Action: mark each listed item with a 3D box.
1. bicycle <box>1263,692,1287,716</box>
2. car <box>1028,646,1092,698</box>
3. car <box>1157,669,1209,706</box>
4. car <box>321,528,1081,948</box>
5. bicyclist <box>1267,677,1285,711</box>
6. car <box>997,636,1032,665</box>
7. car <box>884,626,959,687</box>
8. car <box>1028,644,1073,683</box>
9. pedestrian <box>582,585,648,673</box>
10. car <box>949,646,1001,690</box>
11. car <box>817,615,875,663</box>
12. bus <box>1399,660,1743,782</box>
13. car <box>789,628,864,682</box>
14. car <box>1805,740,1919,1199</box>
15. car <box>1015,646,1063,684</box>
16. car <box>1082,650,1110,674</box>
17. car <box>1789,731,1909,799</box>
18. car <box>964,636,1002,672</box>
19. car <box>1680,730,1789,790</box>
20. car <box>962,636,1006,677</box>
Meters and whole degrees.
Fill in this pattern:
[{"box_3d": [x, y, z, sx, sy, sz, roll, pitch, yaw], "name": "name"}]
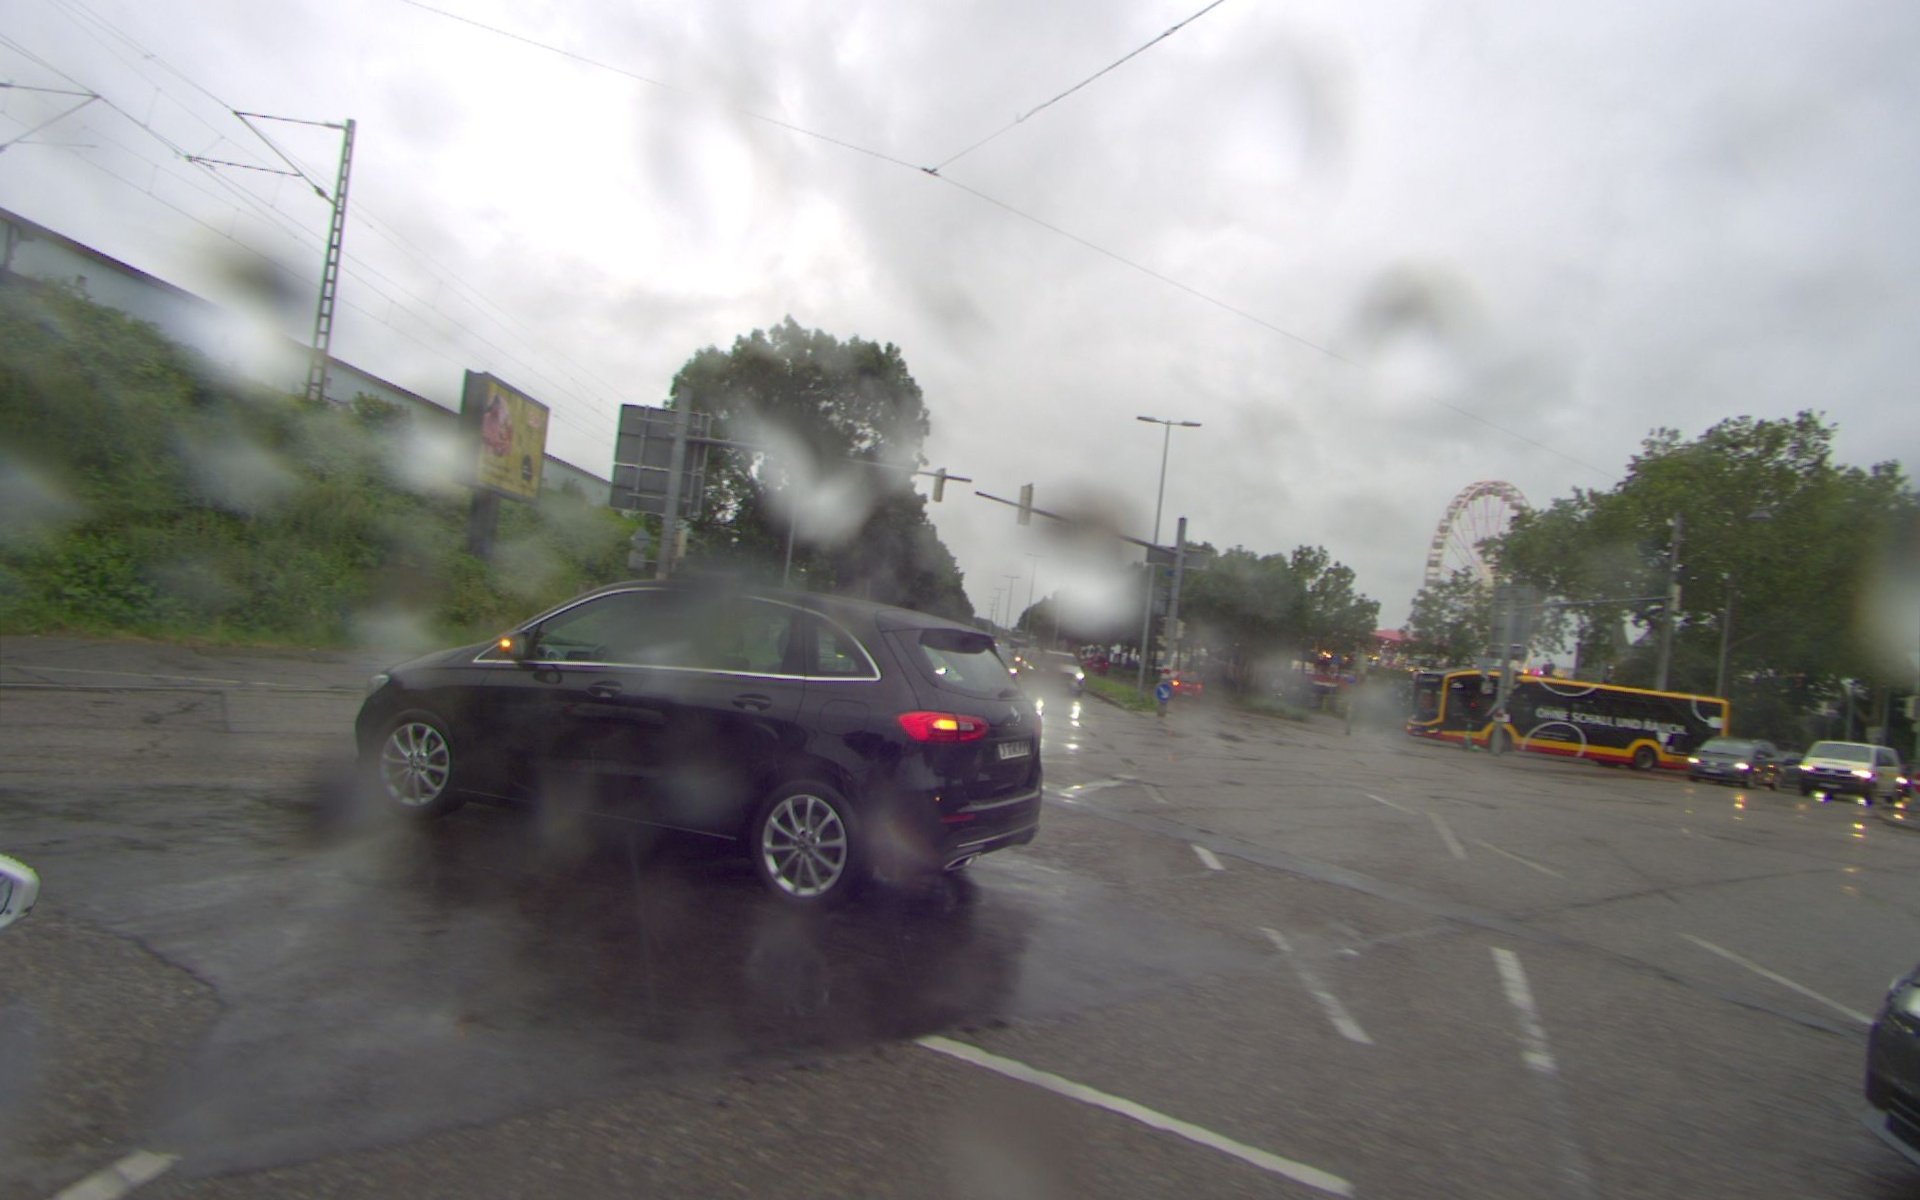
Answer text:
[{"box_3d": [18.948, 6.240, 60.567, 0.806, 1.178, 2.262, 7, -2, 5], "name": "bicycle"}, {"box_3d": [4.067, 2.910, 41.486, 2.136, 1.740, 4.305, 7, -2, 2], "name": "car"}, {"box_3d": [11.535, 4.500, 52.246, 1.653, 1.508, 3.623, 8, -2, 0], "name": "car"}, {"box_3d": [-1.556, 0.603, 6.016, 4.014, 1.541, 1.876, 6, -2, 26], "name": "car"}, {"box_3d": [19.010, 5.648, 60.540, 0.755, 1.904, 0.622, 6, -1, 5], "name": "bicyclist"}, {"box_3d": [3.867, 3.625, 72.524, 1.909, 1.740, 4.000, 7, -1, -3], "name": "car"}, {"box_3d": [-1.233, 1.867, 33.827, 1.991, 1.676, 4.064, 7, -2, 3], "name": "car"}, {"box_3d": [4.716, 3.310, 52.888, 1.576, 1.740, 4.000, 7, -1, -3], "name": "car"}, {"box_3d": [-7.372, 0.613, 21.540, 0.988, 1.739, 0.819, 7, -1, -8], "name": "pedestrian"}, {"box_3d": [0.552, 2.668, 39.873, 1.799, 1.374, 4.001, 7, -2, -1], "name": "car"}, {"box_3d": [-4.293, 1.465, 38.467, 1.800, 1.500, 4.000, 7, -2, -3], "name": "car"}, {"box_3d": [24.945, 4.902, 41.509, 12.064, 3.307, 3.276, 7, -1, -1], "name": "bus"}, {"box_3d": [-4.152, 1.691, 31.918, 1.864, 1.365, 4.000, 7, -1, -2], "name": "car"}, {"box_3d": [4.429, 1.365, 2.112, 1.829, 1.414, 3.713, 10, -2, -39], "name": "car"}, {"box_3d": [3.750, 3.083, 48.355, 1.810, 1.440, 4.002, 7, -2, 0], "name": "car"}, {"box_3d": [11.446, 5.226, 84.616, 1.608, 1.674, 3.486, 9, -2, 0], "name": "car"}, {"box_3d": [30.264, 5.624, 34.196, 4.707, 1.870, 2.058, 8, -2, -37], "name": "car"}, {"box_3d": [1.253, 3.031, 56.976, 1.817, 1.740, 4.001, 7, -1, 0], "name": "car"}, {"box_3d": [27.264, 5.642, 35.374, 4.307, 1.670, 1.914, 8, -2, -37], "name": "car"}, {"box_3d": [1.178, 2.822, 50.647, 1.836, 1.740, 4.001, 7, -1, -2], "name": "car"}]
